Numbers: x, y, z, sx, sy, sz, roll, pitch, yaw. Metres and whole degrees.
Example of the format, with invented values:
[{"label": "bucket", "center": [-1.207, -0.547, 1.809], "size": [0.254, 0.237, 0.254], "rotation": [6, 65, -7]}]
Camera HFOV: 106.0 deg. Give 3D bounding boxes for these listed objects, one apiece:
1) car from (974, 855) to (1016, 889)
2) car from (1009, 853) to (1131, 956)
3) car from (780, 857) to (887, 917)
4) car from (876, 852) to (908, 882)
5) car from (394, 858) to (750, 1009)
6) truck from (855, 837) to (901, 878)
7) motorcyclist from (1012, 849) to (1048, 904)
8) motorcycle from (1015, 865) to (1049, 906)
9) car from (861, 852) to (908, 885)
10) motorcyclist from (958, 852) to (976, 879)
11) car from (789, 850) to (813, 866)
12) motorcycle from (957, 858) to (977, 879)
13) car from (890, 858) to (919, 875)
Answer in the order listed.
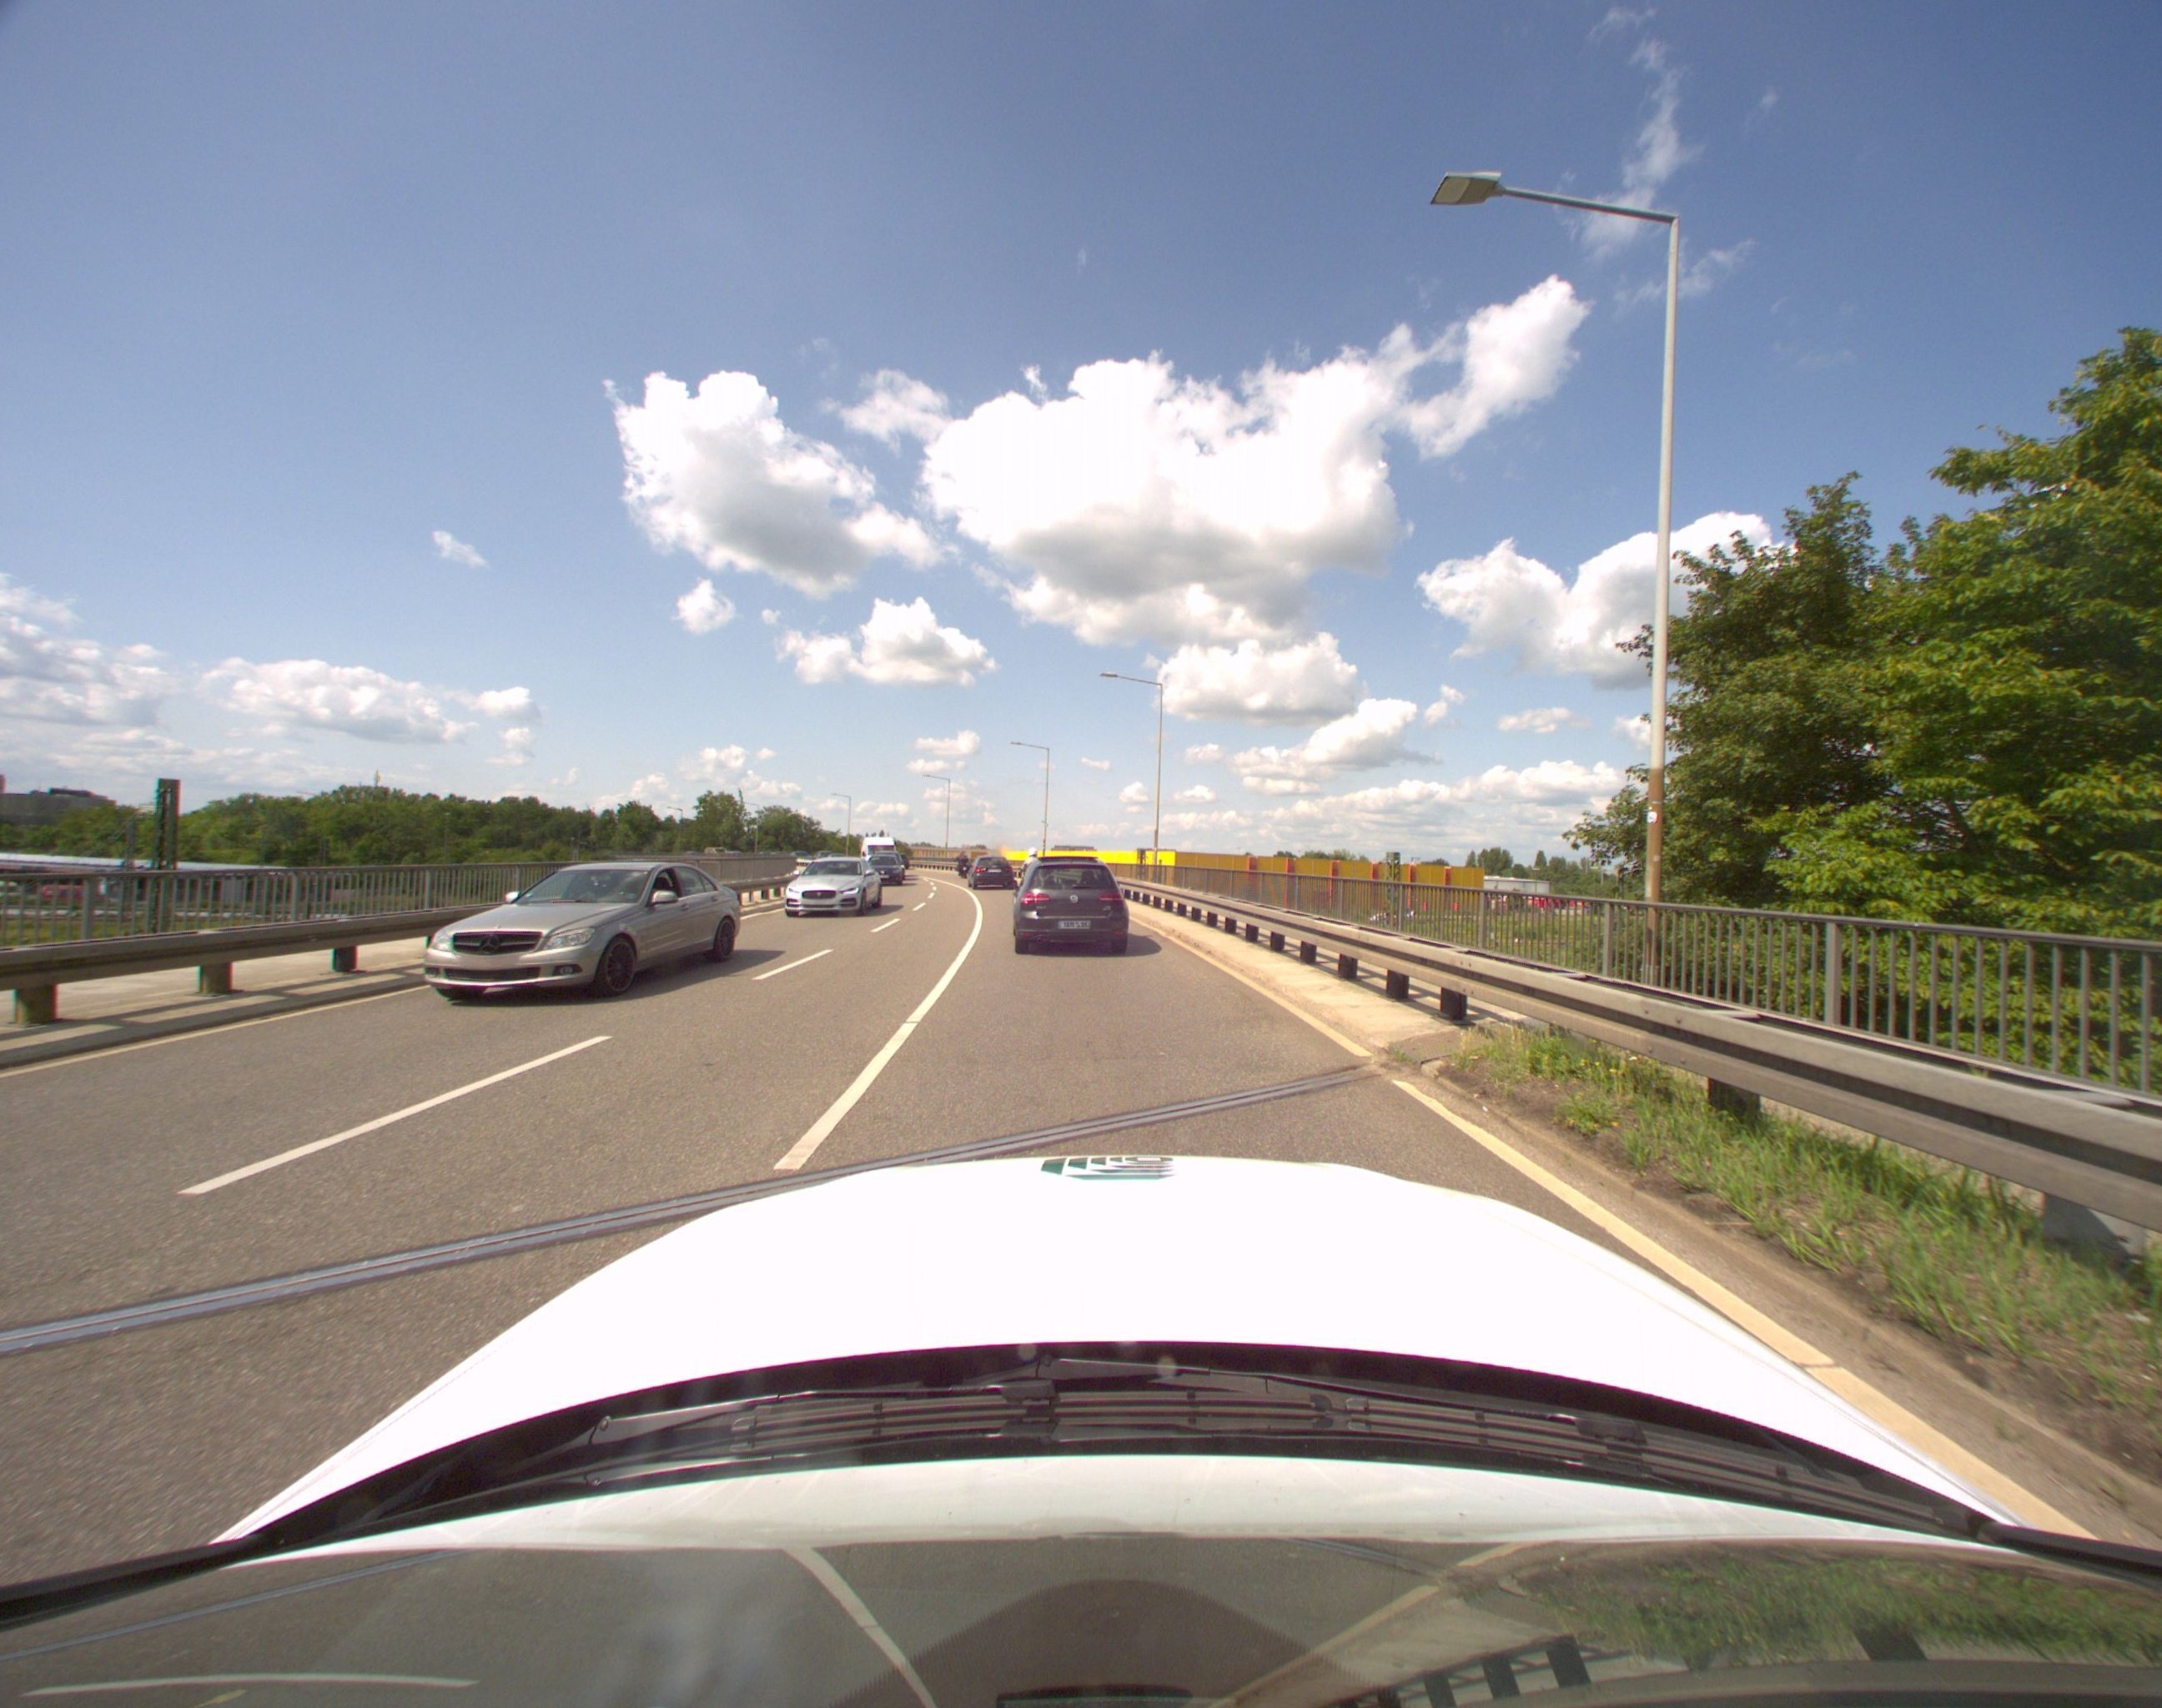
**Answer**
[{"label": "car", "center": [-3.690, 0.757, 34.792], "size": [1.680, 1.388, 3.730], "rotation": [0, -1, -6]}, {"label": "car", "center": [-0.325, 0.741, 13.707], "size": [1.641, 1.479, 3.862], "rotation": [0, -1, -7]}, {"label": "car", "center": [-6.308, 0.788, 21.271], "size": [1.792, 1.375, 4.571], "rotation": [0, 0, -6]}, {"label": "car", "center": [-10.902, 0.698, 46.795], "size": [1.720, 1.632, 4.406], "rotation": [0, 0, -14]}, {"label": "car", "center": [-5.800, 0.773, 10.057], "size": [1.743, 1.449, 4.334], "rotation": [0, 0, -1]}, {"label": "truck", "center": [-13.371, 0.192, 53.388], "size": [2.002, 2.507, 5.901], "rotation": [0, 0, -23]}, {"label": "motorcyclist", "center": [-1.553, 0.676, 24.567], "size": [0.965, 1.620, 1.121], "rotation": [1, -1, -9]}, {"label": "motorcycle", "center": [-1.494, 0.908, 24.355], "size": [0.789, 1.132, 2.392], "rotation": [1, 0, -9]}, {"label": "car", "center": [-9.319, 0.663, 38.841], "size": [1.657, 1.454, 4.316], "rotation": [-1, 0, -7]}, {"label": "motorcyclist", "center": [-6.861, 0.687, 48.962], "size": [0.967, 1.596, 1.119], "rotation": [1, -1, -14]}, {"label": "car", "center": [-29.833, 0.433, 86.632], "size": [1.694, 1.596, 4.242], "rotation": [-1, 1, -30]}, {"label": "motorcycle", "center": [-6.836, 0.856, 48.823], "size": [0.889, 1.247, 2.387], "rotation": [1, 0, -15]}, {"label": "car", "center": [-15.933, 1.135, 73.390], "size": [1.650, 1.479, 3.840], "rotation": [1, -1, -25]}]
